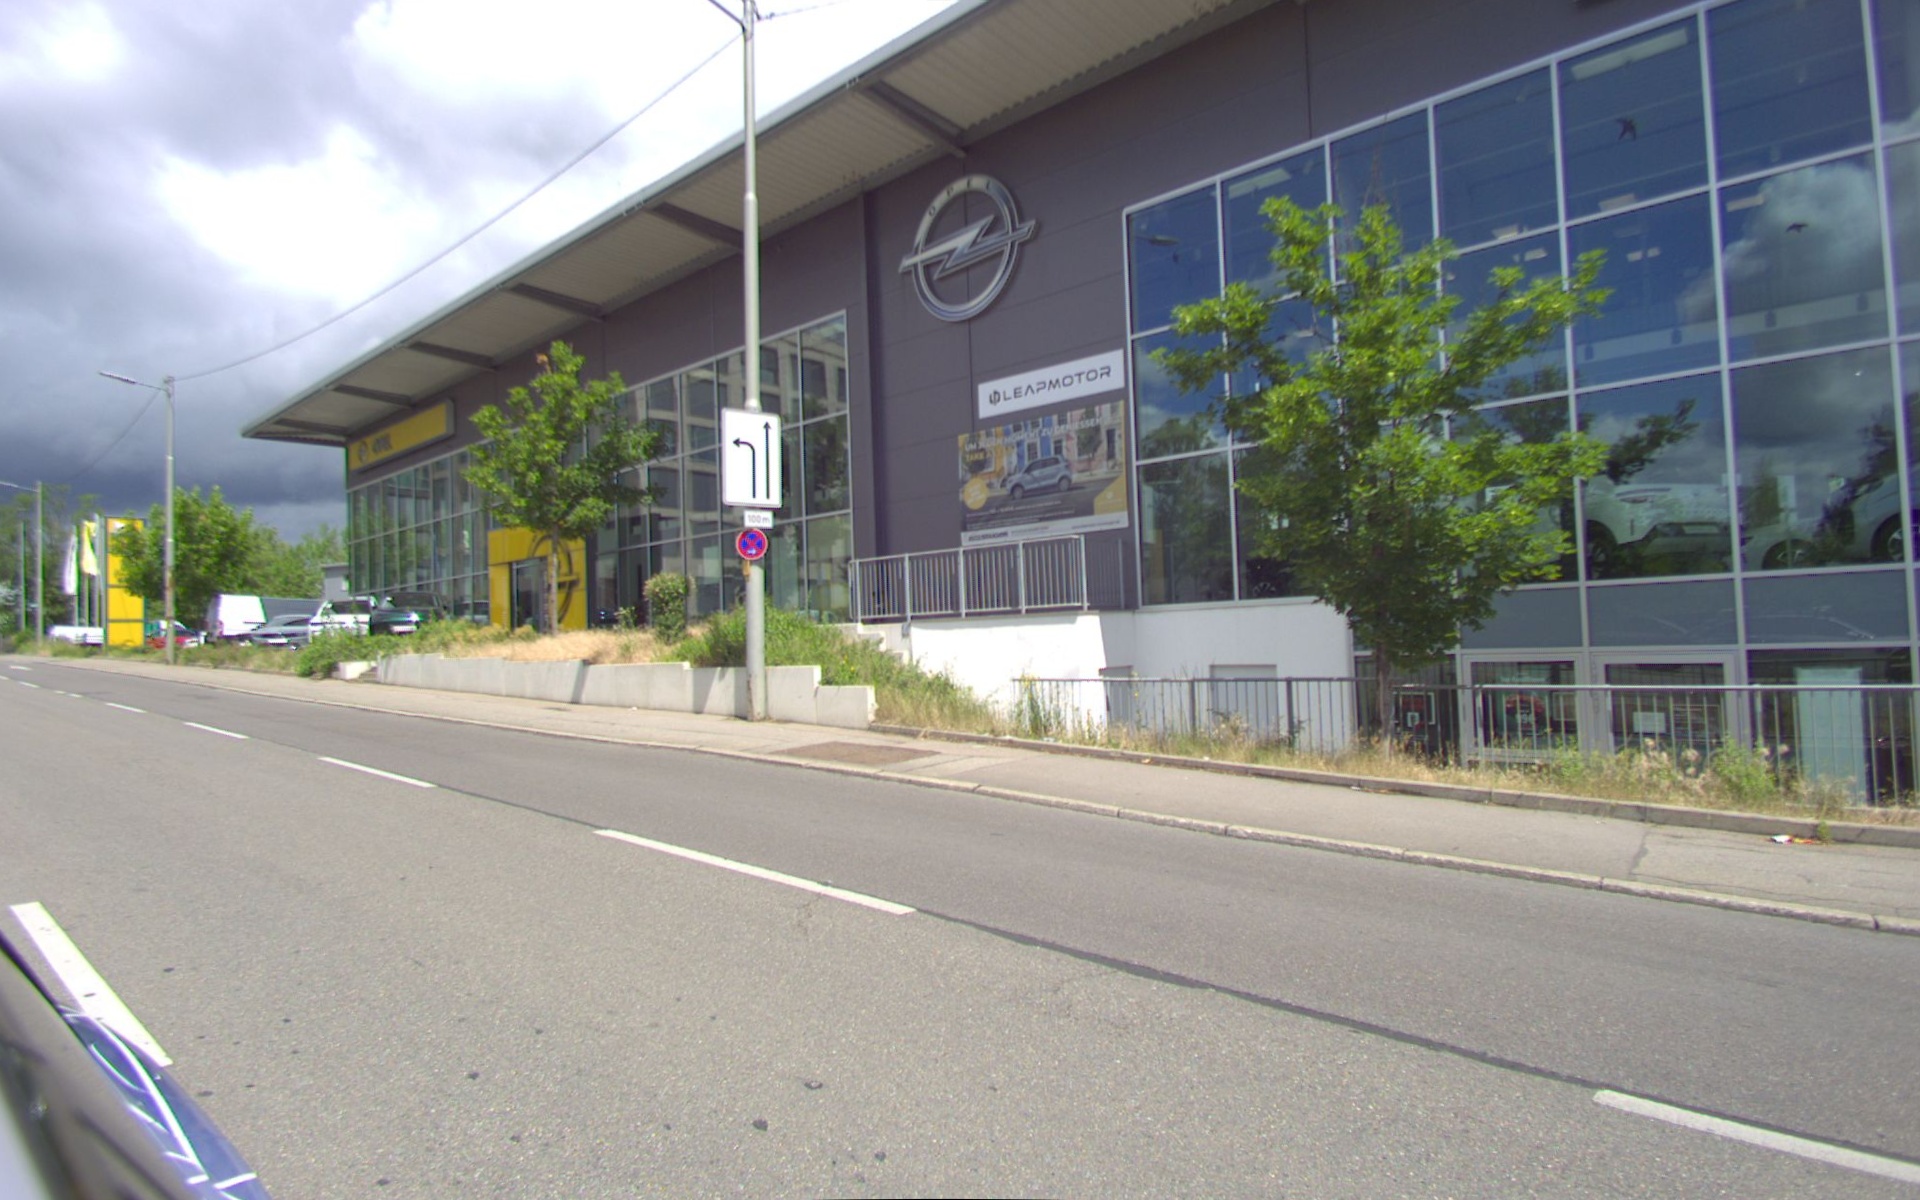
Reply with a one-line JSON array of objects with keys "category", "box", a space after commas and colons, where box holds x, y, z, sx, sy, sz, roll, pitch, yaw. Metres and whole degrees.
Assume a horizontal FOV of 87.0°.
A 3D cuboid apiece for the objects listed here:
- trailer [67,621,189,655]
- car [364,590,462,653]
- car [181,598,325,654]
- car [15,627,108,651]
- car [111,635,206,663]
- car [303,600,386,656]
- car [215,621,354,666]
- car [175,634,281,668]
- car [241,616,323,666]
[{"category": "trailer", "box": [-45.333, 2.060, 55.235, 2.092, 1.765, 4.776, -2, -2, 37]}, {"category": "car", "box": [-15.424, 0.646, 28.741, 1.790, 1.625, 4.122, 3, -3, -20]}, {"category": "car", "box": [-29.259, 1.067, 41.990, 2.177, 2.211, 4.475, -1, -1, 39]}, {"category": "car", "box": [-57.575, 2.503, 64.901, 2.093, 1.493, 4.200, -2, -2, 38]}, {"category": "car", "box": [-42.028, 2.536, 53.106, 1.814, 1.420, 3.621, -2, -2, 42]}, {"category": "car", "box": [-19.207, 0.852, 31.736, 1.767, 1.625, 4.122, 0, -1, -25]}, {"category": "car", "box": [-25.741, 1.647, 38.682, 1.792, 1.625, 4.064, -2, -2, 32]}, {"category": "car", "box": [-35.534, 2.455, 49.171, 1.559, 1.539, 3.897, -2, -2, 38]}, {"category": "car", "box": [-23.491, 1.396, 35.205, 1.767, 1.625, 4.122, 1, -2, -26]}]
